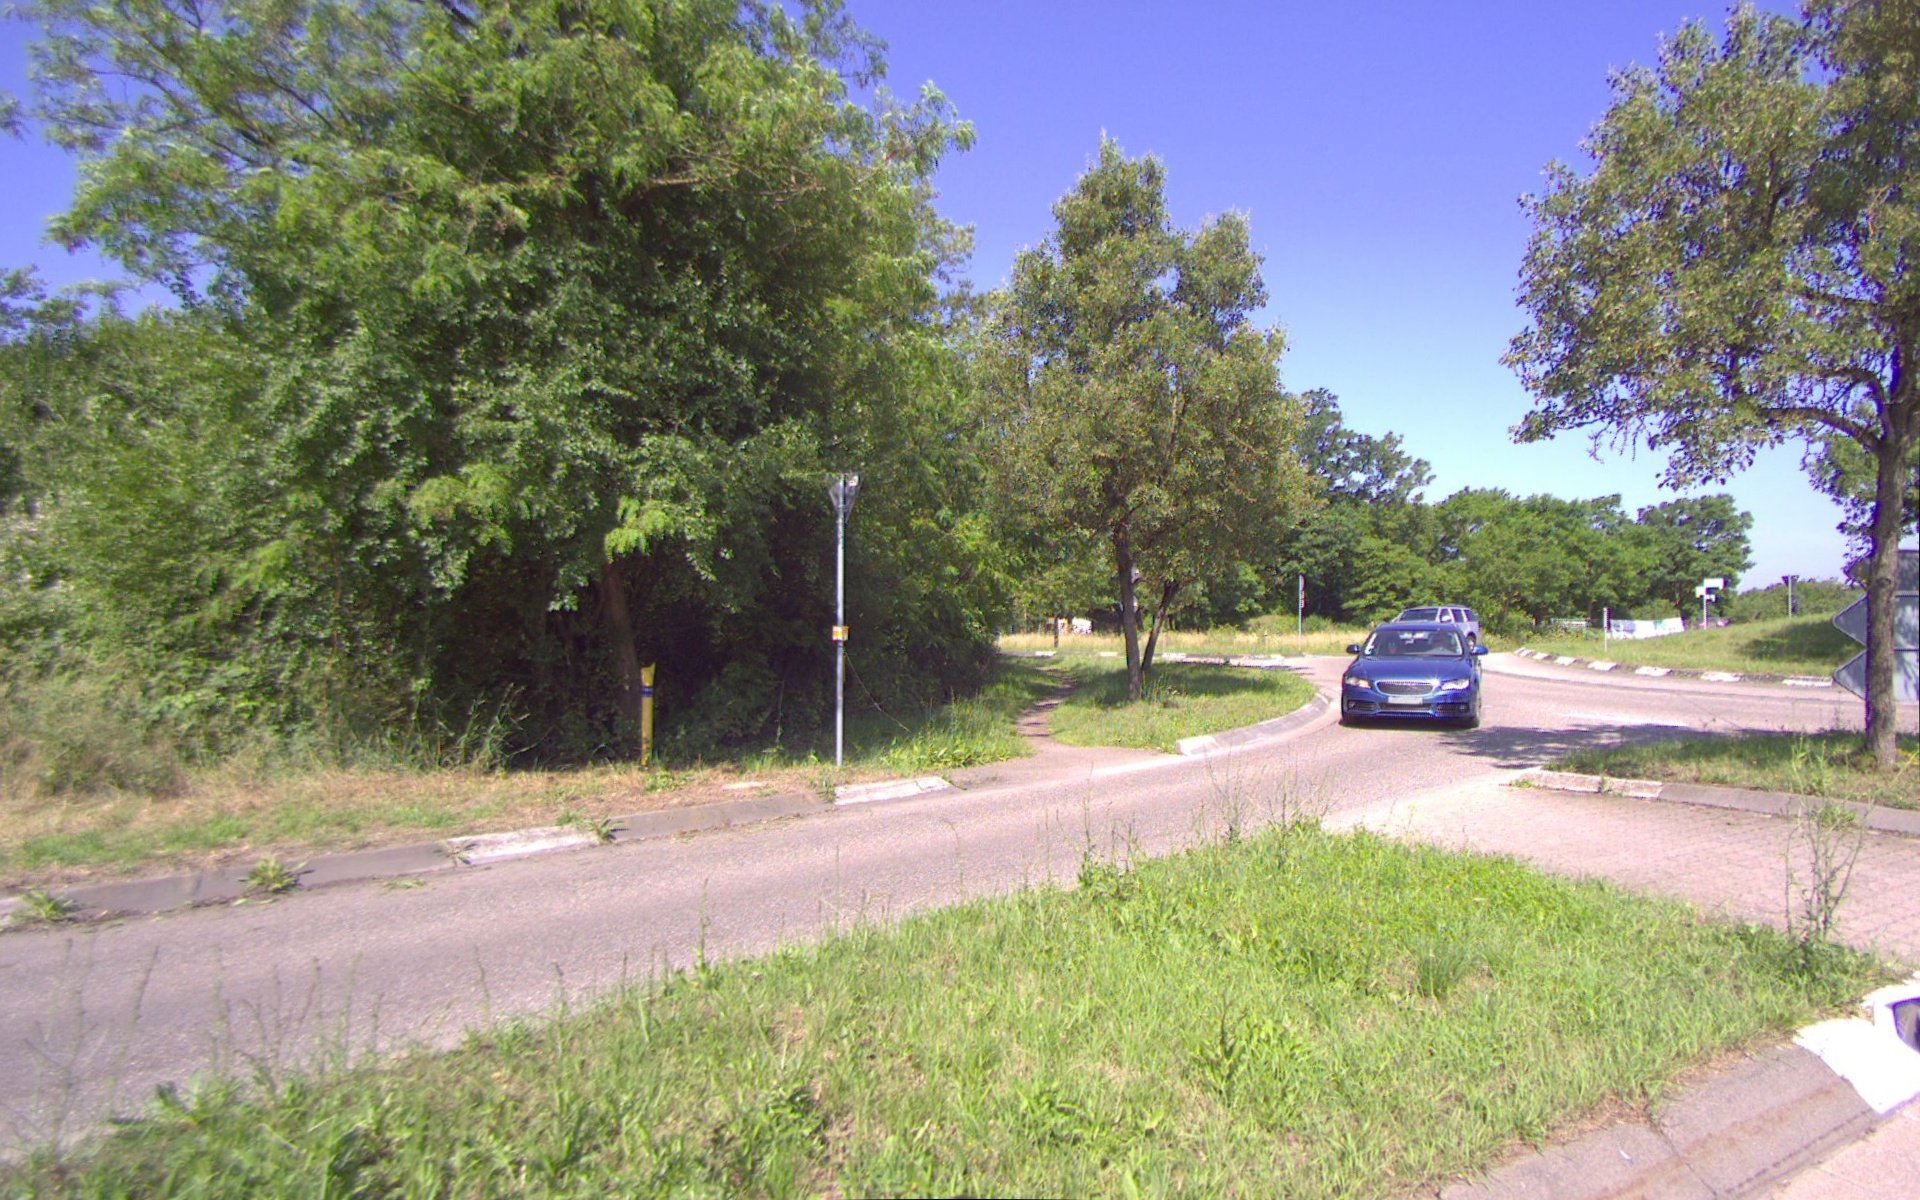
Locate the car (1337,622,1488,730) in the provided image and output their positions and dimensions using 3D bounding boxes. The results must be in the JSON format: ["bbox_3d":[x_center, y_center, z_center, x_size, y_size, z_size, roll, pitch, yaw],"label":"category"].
[{"bbox_3d":[7.025,1.054,15.410,1.805,1.405,4.418,-2,-2,27],"label":"car"}]

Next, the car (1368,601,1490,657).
[{"bbox_3d":[16.416,1.013,35.096,4.552,1.840,1.881,1,-2,-36],"label":"car"}]
